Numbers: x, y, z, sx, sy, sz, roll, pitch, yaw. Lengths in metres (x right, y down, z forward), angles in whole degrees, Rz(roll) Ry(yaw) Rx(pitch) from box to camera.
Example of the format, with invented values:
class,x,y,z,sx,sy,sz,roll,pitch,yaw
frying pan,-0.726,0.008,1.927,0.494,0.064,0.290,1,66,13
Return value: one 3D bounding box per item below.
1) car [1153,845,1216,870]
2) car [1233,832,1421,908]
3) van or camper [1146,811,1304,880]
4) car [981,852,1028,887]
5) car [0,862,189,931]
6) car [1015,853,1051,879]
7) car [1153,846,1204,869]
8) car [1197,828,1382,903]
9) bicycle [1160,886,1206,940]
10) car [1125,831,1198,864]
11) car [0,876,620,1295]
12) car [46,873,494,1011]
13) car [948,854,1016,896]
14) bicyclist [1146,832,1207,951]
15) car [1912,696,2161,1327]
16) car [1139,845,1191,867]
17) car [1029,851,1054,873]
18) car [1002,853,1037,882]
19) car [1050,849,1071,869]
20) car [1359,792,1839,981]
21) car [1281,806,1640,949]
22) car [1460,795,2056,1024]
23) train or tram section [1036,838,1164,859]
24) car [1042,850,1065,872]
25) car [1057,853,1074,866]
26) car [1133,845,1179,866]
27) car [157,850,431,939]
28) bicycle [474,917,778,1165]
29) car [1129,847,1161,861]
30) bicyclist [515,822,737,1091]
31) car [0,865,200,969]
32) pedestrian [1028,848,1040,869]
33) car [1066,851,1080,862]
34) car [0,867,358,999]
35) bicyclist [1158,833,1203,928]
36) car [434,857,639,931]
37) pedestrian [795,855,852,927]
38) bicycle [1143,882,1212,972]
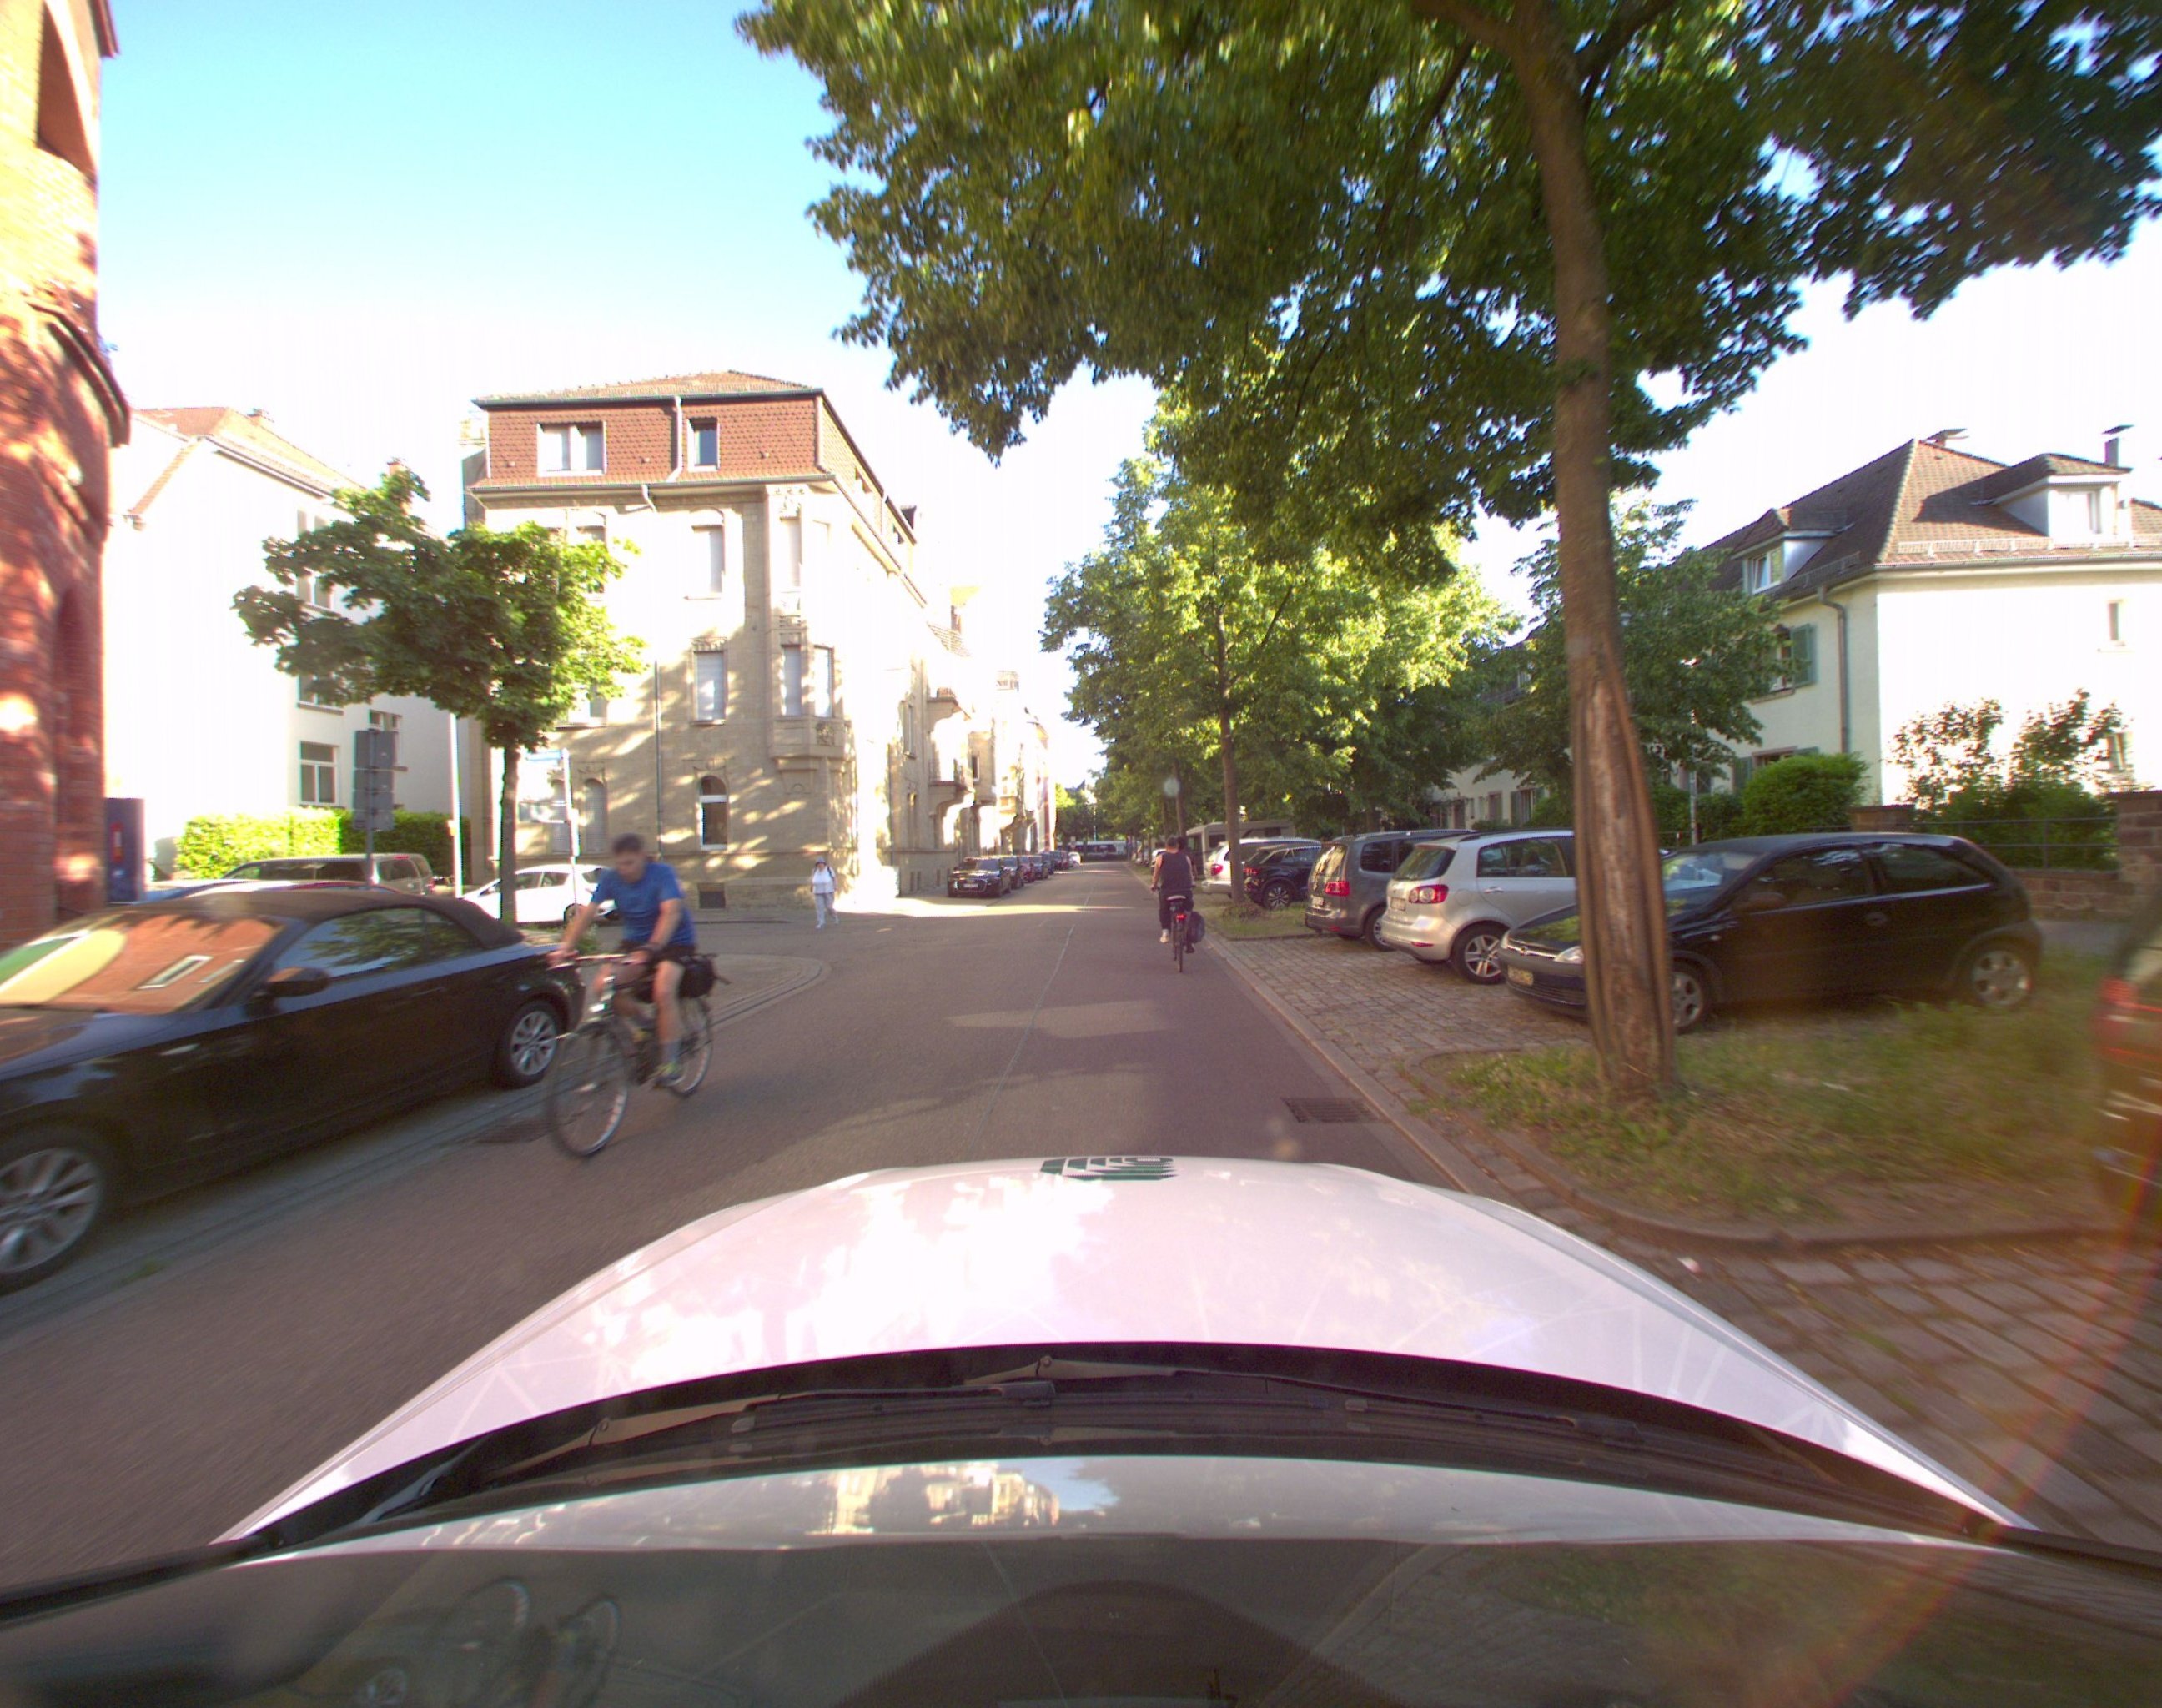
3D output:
class,x,y,z,sx,sy,sz,roll,pitch,yaw
car,7.144,0.254,56.729,4.205,1.600,1.692,-2,-2,3
car,5.918,0.352,19.963,4.051,1.476,1.695,-4,1,2
van or camper,6.769,-0.396,39.075,7.116,2.647,2.467,-5,0,3
car,-3.408,0.685,37.052,1.690,1.453,4.028,-1,-1,1
car,-25.105,1.047,20.278,3.877,1.473,1.602,-2,3,-1
car,-2.896,0.709,49.848,1.669,1.430,4.553,1,1,3
car,7.519,0.267,63.172,3.757,1.600,1.692,-2,-2,3
car,5.639,0.299,22.435,4.600,1.709,1.835,-3,0,3
bicycle,1.802,1.026,14.629,0.631,0.799,1.833,-2,0,2
car,8.218,-0.671,84.055,7.126,2.978,2.463,-3,0,-1
car,-4.700,0.898,4.529,1.629,1.410,4.335,1,0,2
car,-10.975,1.066,11.659,1.629,1.468,4.660,0,0,2
car,-3.668,0.748,30.919,1.804,1.427,4.900,1,0,2
bicyclist,1.275,0.489,11.058,0.727,1.547,0.884,1,-1,1
car,5.077,0.254,1.677,4.562,1.677,1.909,-5,0,3
car,6.755,0.178,65.709,4.121,1.600,1.704,-2,-2,3
car,-2.841,0.550,59.030,1.590,1.489,2.737,2,1,0
car,-3.282,0.682,44.023,1.624,1.453,3.837,0,0,0
car,-1.980,0.459,78.986,1.682,1.825,4.276,1,1,2
car,5.603,0.348,9.276,4.252,1.633,1.693,-5,0,5
car,5.559,0.311,12.273,4.530,1.633,1.810,-5,0,-4
car,5.515,0.421,6.998,3.708,1.453,1.589,-5,0,1
train or tram section,3.669,-0.940,149.984,23.889,3.708,4.256,0,-1,-21
car,-2.385,0.601,72.064,1.634,1.783,4.357,1,1,2
car,-1.658,0.629,90.317,1.577,1.343,4.134,1,1,2
car,7.022,0.100,76.579,4.070,1.650,1.641,-4,0,0
car,-19.054,0.947,19.896,4.698,1.866,1.867,-2,3,-1
bicycle,-2.685,1.027,5.115,0.755,1.107,1.908,-2,-1,2
car,8.328,-0.035,106.331,3.975,1.803,1.833,0,-1,-1
bicyclist,-2.706,0.569,4.961,0.757,1.454,0.949,-2,-1,1
car,-16.646,0.952,12.593,1.706,1.512,3.917,-1,0,2
pedestrian,-3.996,0.382,69.266,0.934,1.742,0.735,0,-1,2
car,-1.021,0.370,107.531,1.577,1.375,4.134,1,1,2
car,-13.774,1.043,12.353,1.706,1.550,4.214,-2,0,2
bicyclist,1.778,0.458,14.607,0.686,1.626,0.999,1,0,1
car,-13.298,0.950,20.060,3.784,1.550,1.719,-2,3,-1
pedestrian,-5.956,0.840,18.894,0.884,1.577,1.054,-3,1,2
bicycle,1.267,0.933,11.024,0.735,1.054,1.956,1,-1,1
